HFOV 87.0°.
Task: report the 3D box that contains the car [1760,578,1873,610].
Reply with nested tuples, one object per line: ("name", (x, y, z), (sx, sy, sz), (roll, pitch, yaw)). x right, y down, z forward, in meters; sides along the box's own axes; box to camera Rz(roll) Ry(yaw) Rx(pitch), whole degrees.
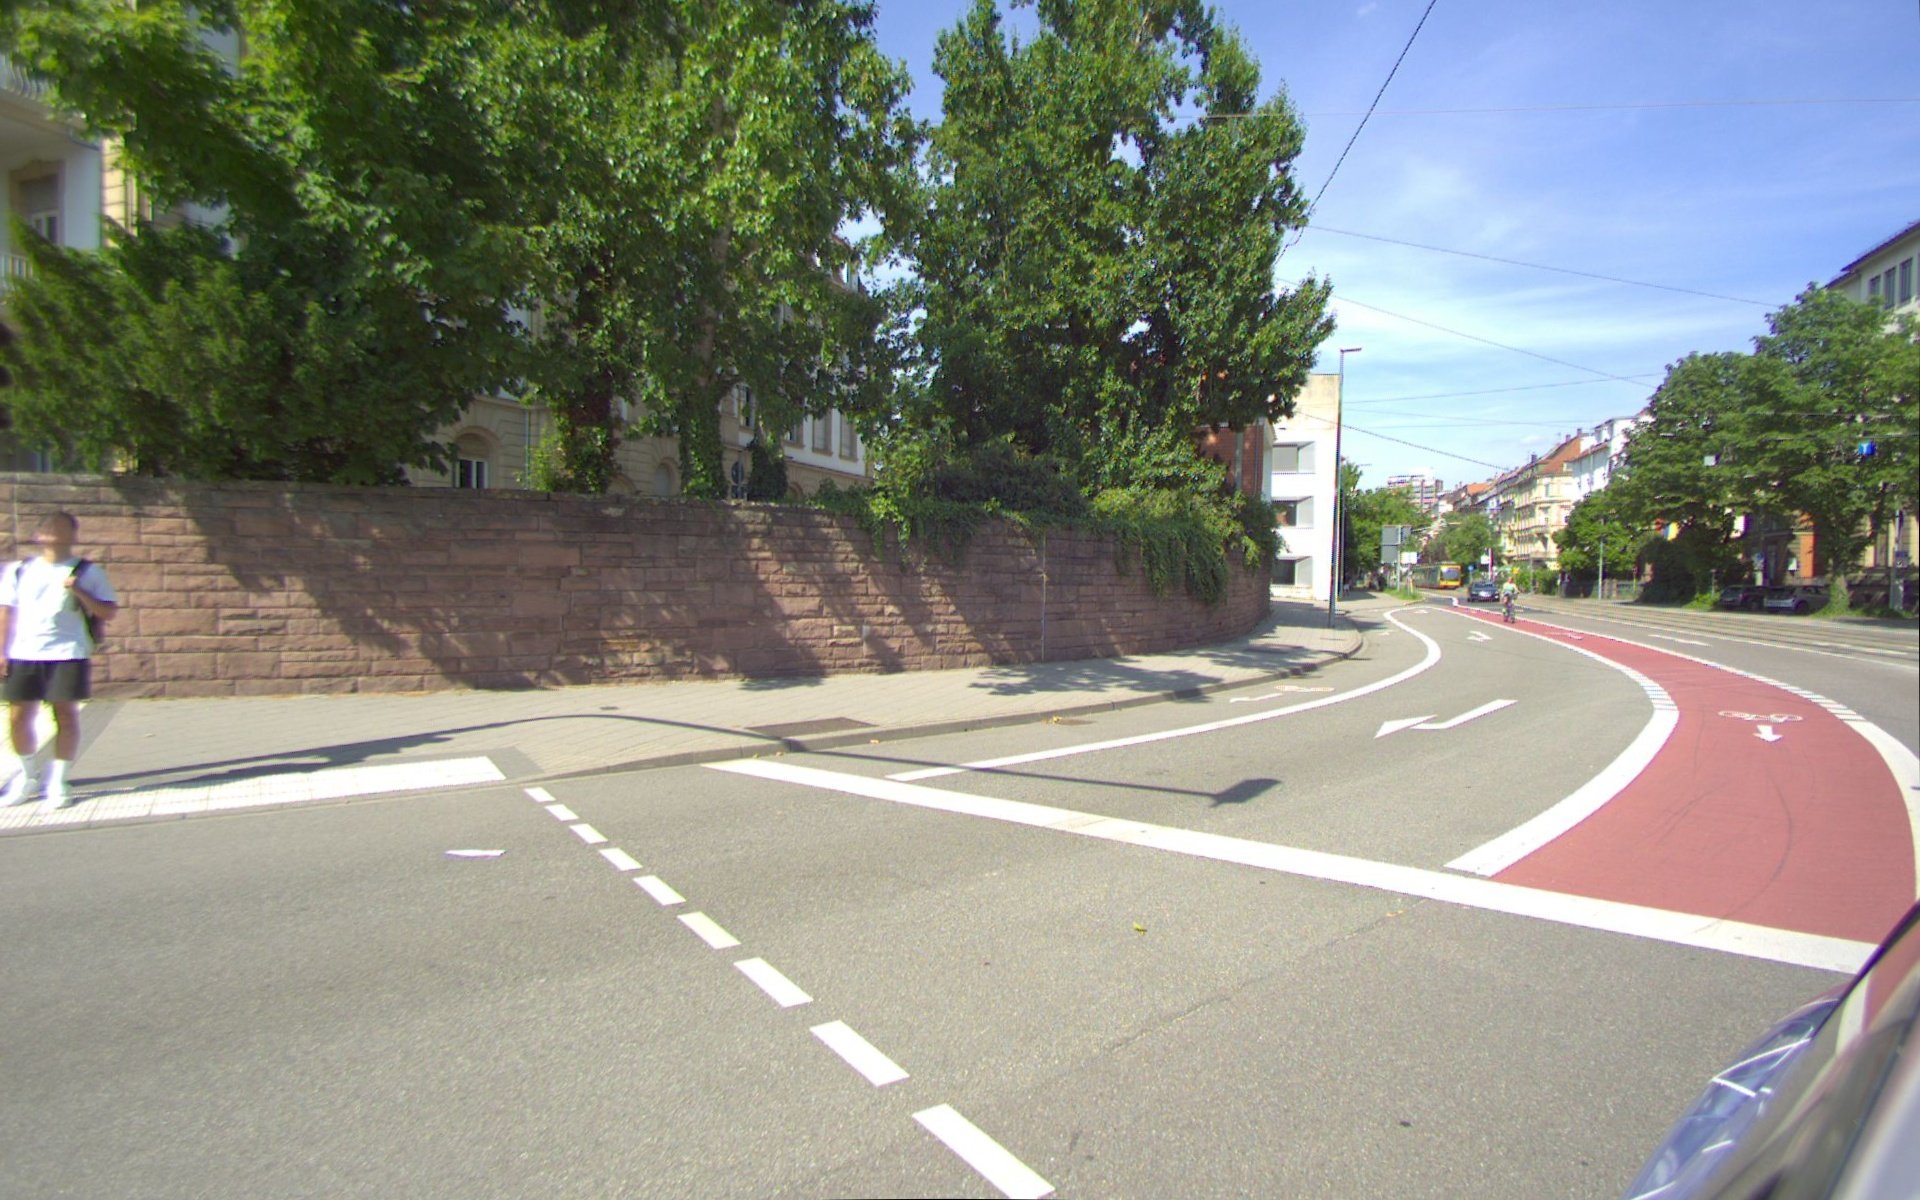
("car", (44.439, -0.322, 52.600), (3.950, 1.482, 1.988), (2, 2, 20))

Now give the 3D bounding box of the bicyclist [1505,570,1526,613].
("bicyclist", (20.549, -0.323, 37.444), (0.582, 1.567, 0.924), (-1, 0, 23))

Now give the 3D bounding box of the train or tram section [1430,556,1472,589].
("train or tram section", (62.631, -3.480, 129.276), (3.176, 3.908, 14.494), (2, 2, 20))

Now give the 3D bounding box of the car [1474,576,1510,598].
("car", (35.398, -0.901, 67.423), (1.784, 1.393, 4.242), (2, 2, 24))

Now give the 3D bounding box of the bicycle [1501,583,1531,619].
("bicycle", (20.601, 0.015, 37.534), (0.678, 1.237, 2.170), (2, 2, 22))

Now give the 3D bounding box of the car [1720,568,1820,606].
("car", (46.354, -0.783, 57.991), (3.950, 2.038, 1.988), (2, 2, 20))

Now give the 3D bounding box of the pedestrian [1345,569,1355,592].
("pedestrian", (27.970, -1.414, 72.577), (0.542, 1.587, 0.926), (1, 1, 19))

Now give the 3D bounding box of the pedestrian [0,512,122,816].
("pedestrian", (-6.106, 0.378, 6.653), (0.650, 1.897, 0.786), (4, 3, 37))
